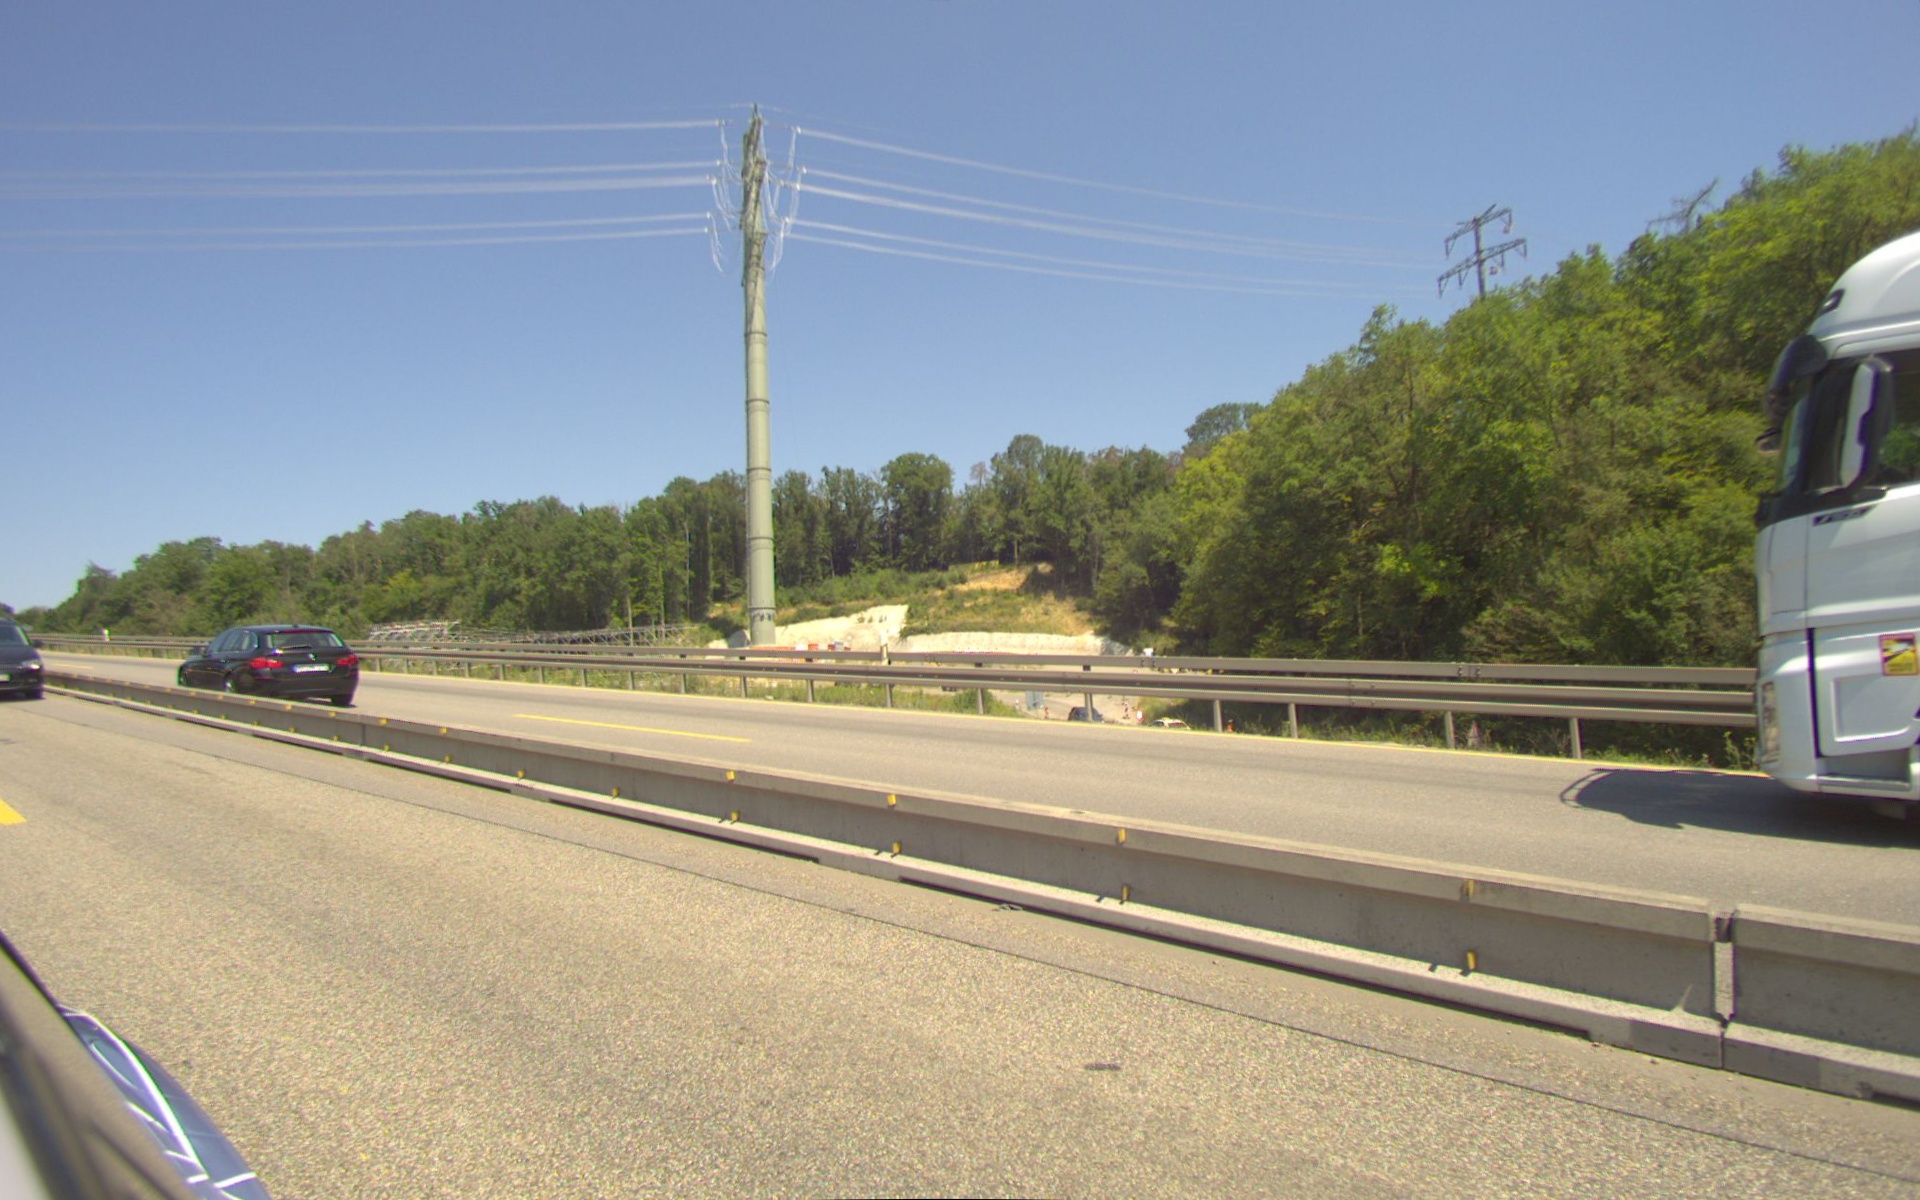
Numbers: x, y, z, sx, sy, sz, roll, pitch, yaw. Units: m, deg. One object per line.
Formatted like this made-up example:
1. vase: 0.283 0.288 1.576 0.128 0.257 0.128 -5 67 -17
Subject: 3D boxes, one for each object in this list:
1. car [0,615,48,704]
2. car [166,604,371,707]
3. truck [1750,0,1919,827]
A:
1. car: -20.759 1.228 21.078 5.298 1.719 1.838 -2 -2 39
2. car: -12.755 0.910 18.544 4.852 1.652 1.973 -1 -1 41
3. truck: 7.633 -1.145 5.864 4.643 4.858 3.029 -1 -1 41
